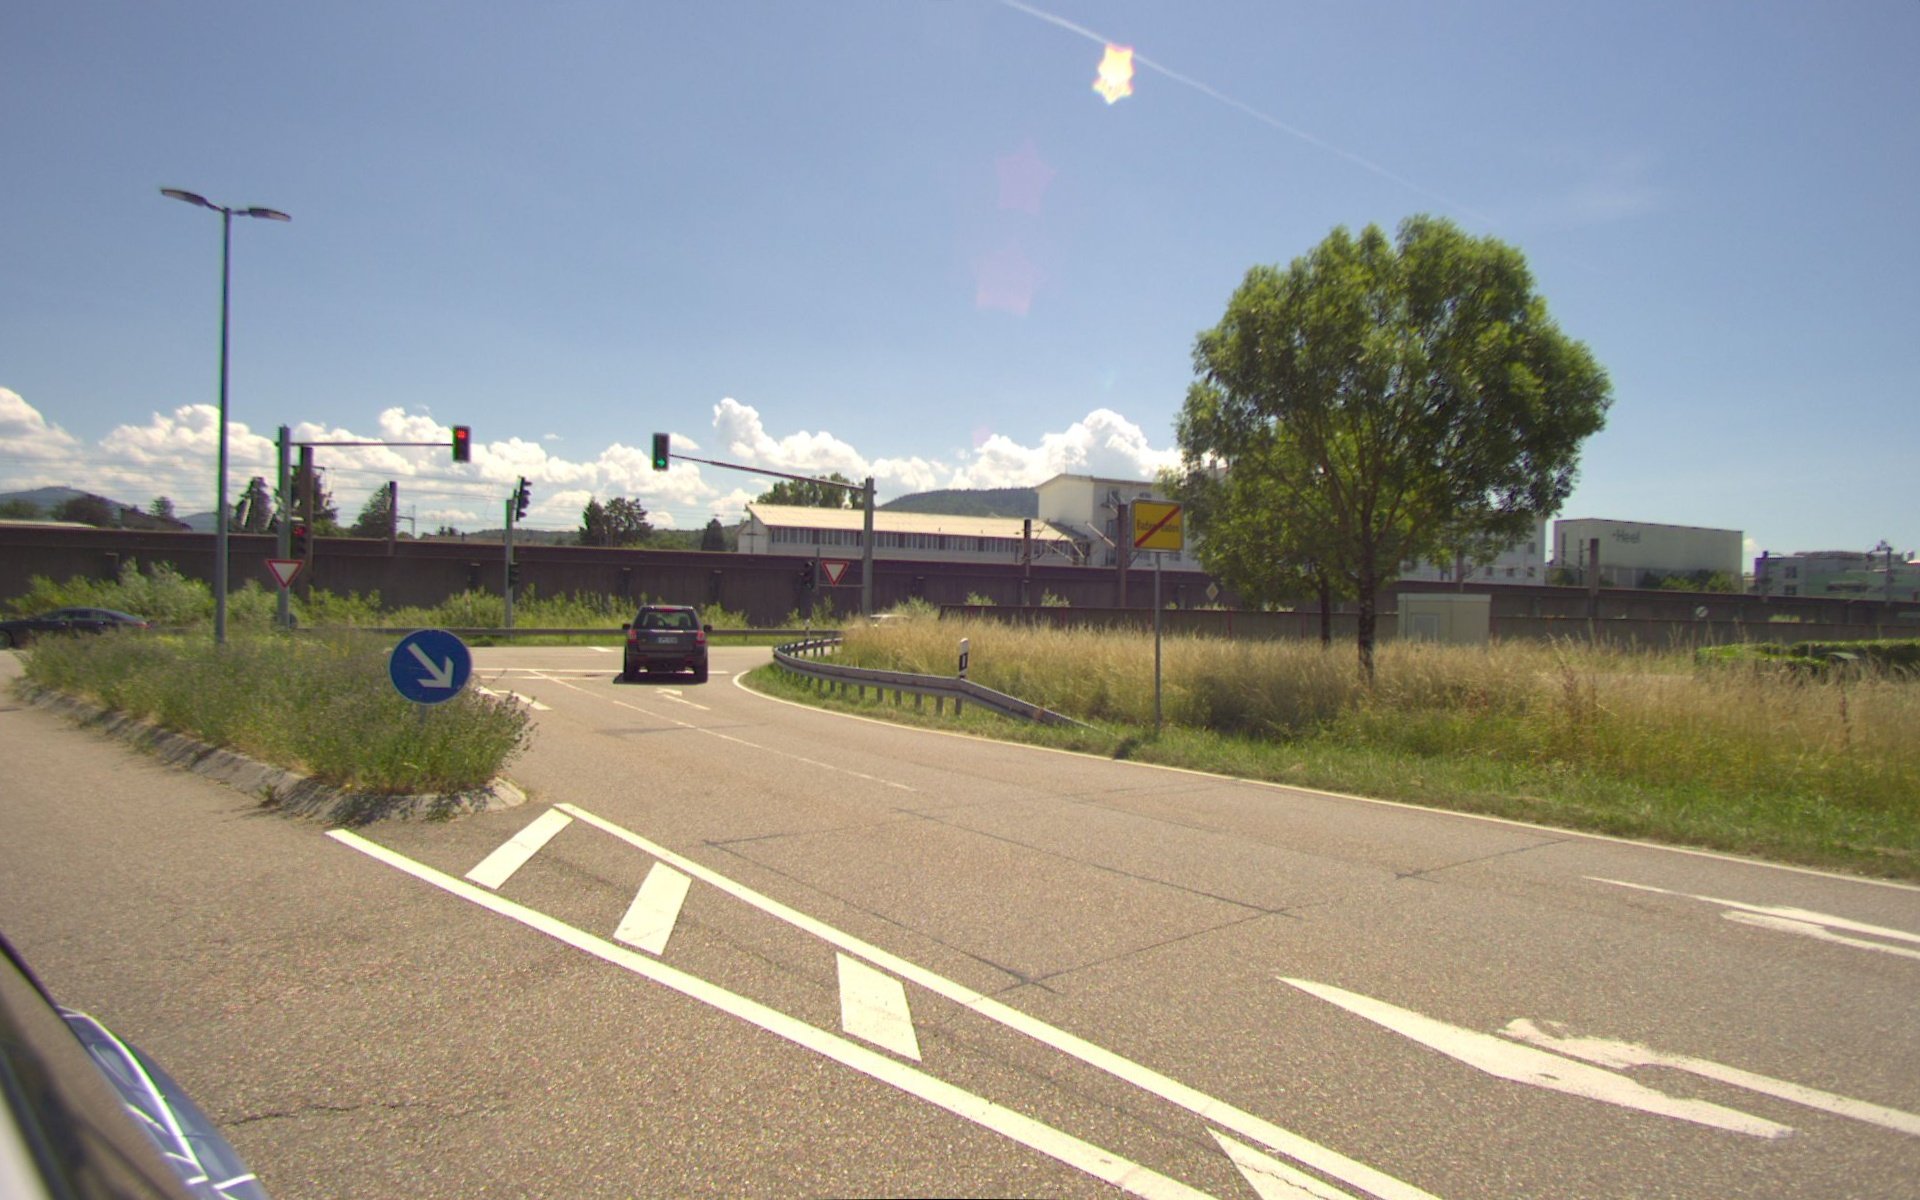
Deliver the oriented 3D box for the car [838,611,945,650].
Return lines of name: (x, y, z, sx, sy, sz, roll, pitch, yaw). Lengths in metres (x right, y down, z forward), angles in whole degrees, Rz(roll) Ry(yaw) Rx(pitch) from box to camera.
car: (-2.611, 1.164, 38.991, 3.796, 1.420, 1.736, 1, -1, -37)

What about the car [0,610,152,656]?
car: (-30.252, 1.106, 34.082, 4.439, 1.465, 1.795, 1, -1, -25)

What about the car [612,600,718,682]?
car: (-7.188, 0.973, 24.358, 1.965, 1.735, 4.498, 3, -2, -21)
